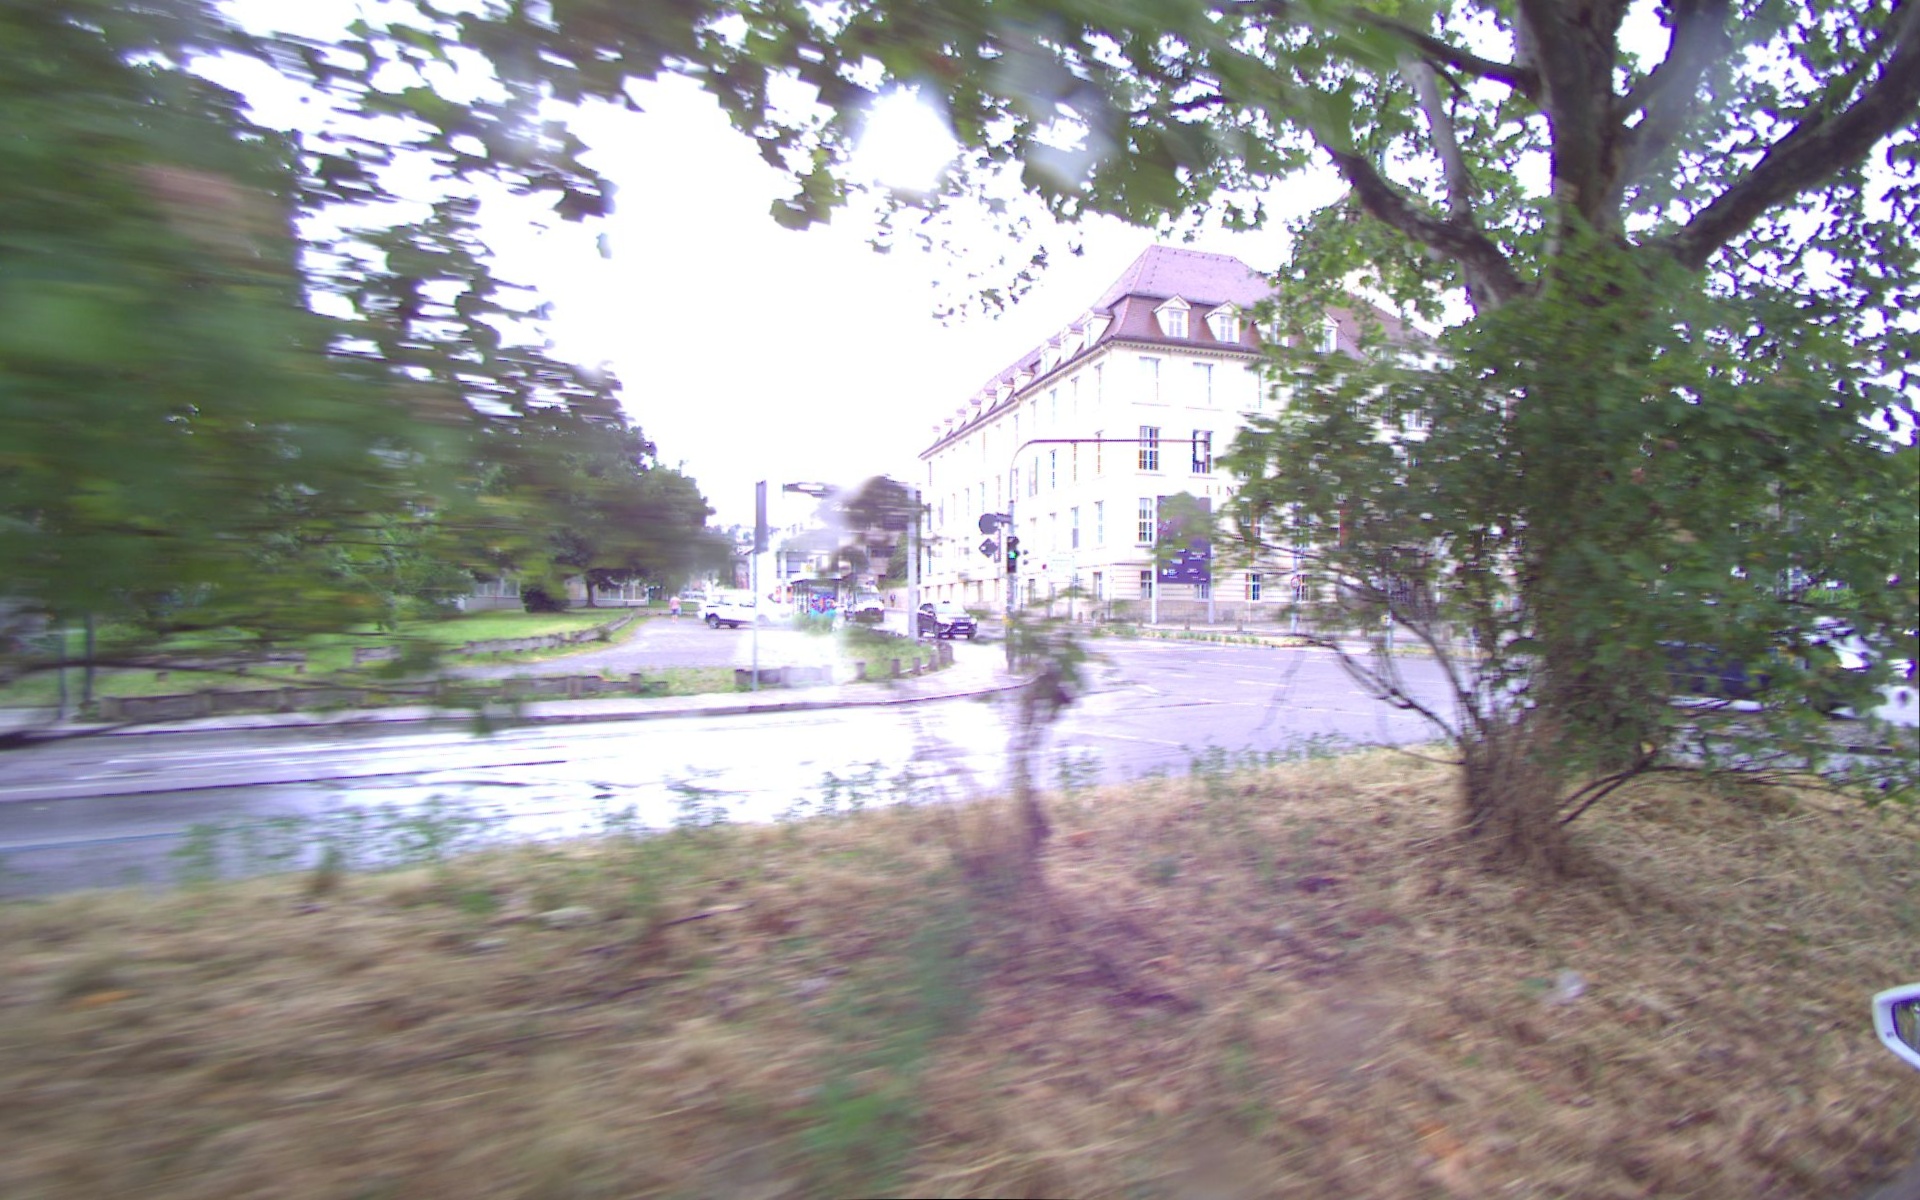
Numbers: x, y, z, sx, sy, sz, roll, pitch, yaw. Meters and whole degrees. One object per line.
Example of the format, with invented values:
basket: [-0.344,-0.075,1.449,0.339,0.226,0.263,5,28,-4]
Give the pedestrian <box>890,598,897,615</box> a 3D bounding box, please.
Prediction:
pedestrian: [-7.988,0.804,120.859,0.718,2.040,0.637,2,0,-16]

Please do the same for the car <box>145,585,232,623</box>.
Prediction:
car: [-63.738,0.310,83.154,3.541,2.855,6.442,2,0,-17]

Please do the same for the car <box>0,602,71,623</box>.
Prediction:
car: [-56.364,0.773,60.719,3.500,1.158,1.586,2,0,-18]

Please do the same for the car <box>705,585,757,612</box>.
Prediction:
car: [-15.538,-0.057,68.063,1.838,1.765,4.029,1,-1,-39]

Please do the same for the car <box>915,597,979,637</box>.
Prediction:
car: [-0.654,0.735,45.407,1.768,1.728,4.673,0,0,-15]

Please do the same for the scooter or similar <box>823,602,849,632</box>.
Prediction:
scooter or similar: [-5.145,0.710,41.640,0.541,1.182,1.253,2,0,20]

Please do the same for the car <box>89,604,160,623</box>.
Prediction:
car: [-58.829,0.956,70.786,3.500,1.158,1.586,2,0,-18]

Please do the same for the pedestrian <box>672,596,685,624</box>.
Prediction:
pedestrian: [-16.221,0.575,57.897,0.557,1.549,0.669,2,0,-7]

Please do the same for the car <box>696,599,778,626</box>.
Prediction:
car: [-12.203,0.698,55.009,3.993,1.461,1.855,0,-1,16]

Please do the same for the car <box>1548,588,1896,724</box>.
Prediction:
car: [12.371,0.803,16.611,1.778,1.933,4.270,0,0,-33]

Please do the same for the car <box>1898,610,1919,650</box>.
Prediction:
car: [40.736,1.215,42.237,1.848,1.585,4.251,-1,0,43]

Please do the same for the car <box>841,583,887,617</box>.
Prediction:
car: [-7.078,-0.032,73.621,1.969,2.344,5.902,2,0,-19]

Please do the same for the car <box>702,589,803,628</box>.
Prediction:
car: [-9.841,0.412,47.657,4.420,1.791,1.833,0,-1,24]
